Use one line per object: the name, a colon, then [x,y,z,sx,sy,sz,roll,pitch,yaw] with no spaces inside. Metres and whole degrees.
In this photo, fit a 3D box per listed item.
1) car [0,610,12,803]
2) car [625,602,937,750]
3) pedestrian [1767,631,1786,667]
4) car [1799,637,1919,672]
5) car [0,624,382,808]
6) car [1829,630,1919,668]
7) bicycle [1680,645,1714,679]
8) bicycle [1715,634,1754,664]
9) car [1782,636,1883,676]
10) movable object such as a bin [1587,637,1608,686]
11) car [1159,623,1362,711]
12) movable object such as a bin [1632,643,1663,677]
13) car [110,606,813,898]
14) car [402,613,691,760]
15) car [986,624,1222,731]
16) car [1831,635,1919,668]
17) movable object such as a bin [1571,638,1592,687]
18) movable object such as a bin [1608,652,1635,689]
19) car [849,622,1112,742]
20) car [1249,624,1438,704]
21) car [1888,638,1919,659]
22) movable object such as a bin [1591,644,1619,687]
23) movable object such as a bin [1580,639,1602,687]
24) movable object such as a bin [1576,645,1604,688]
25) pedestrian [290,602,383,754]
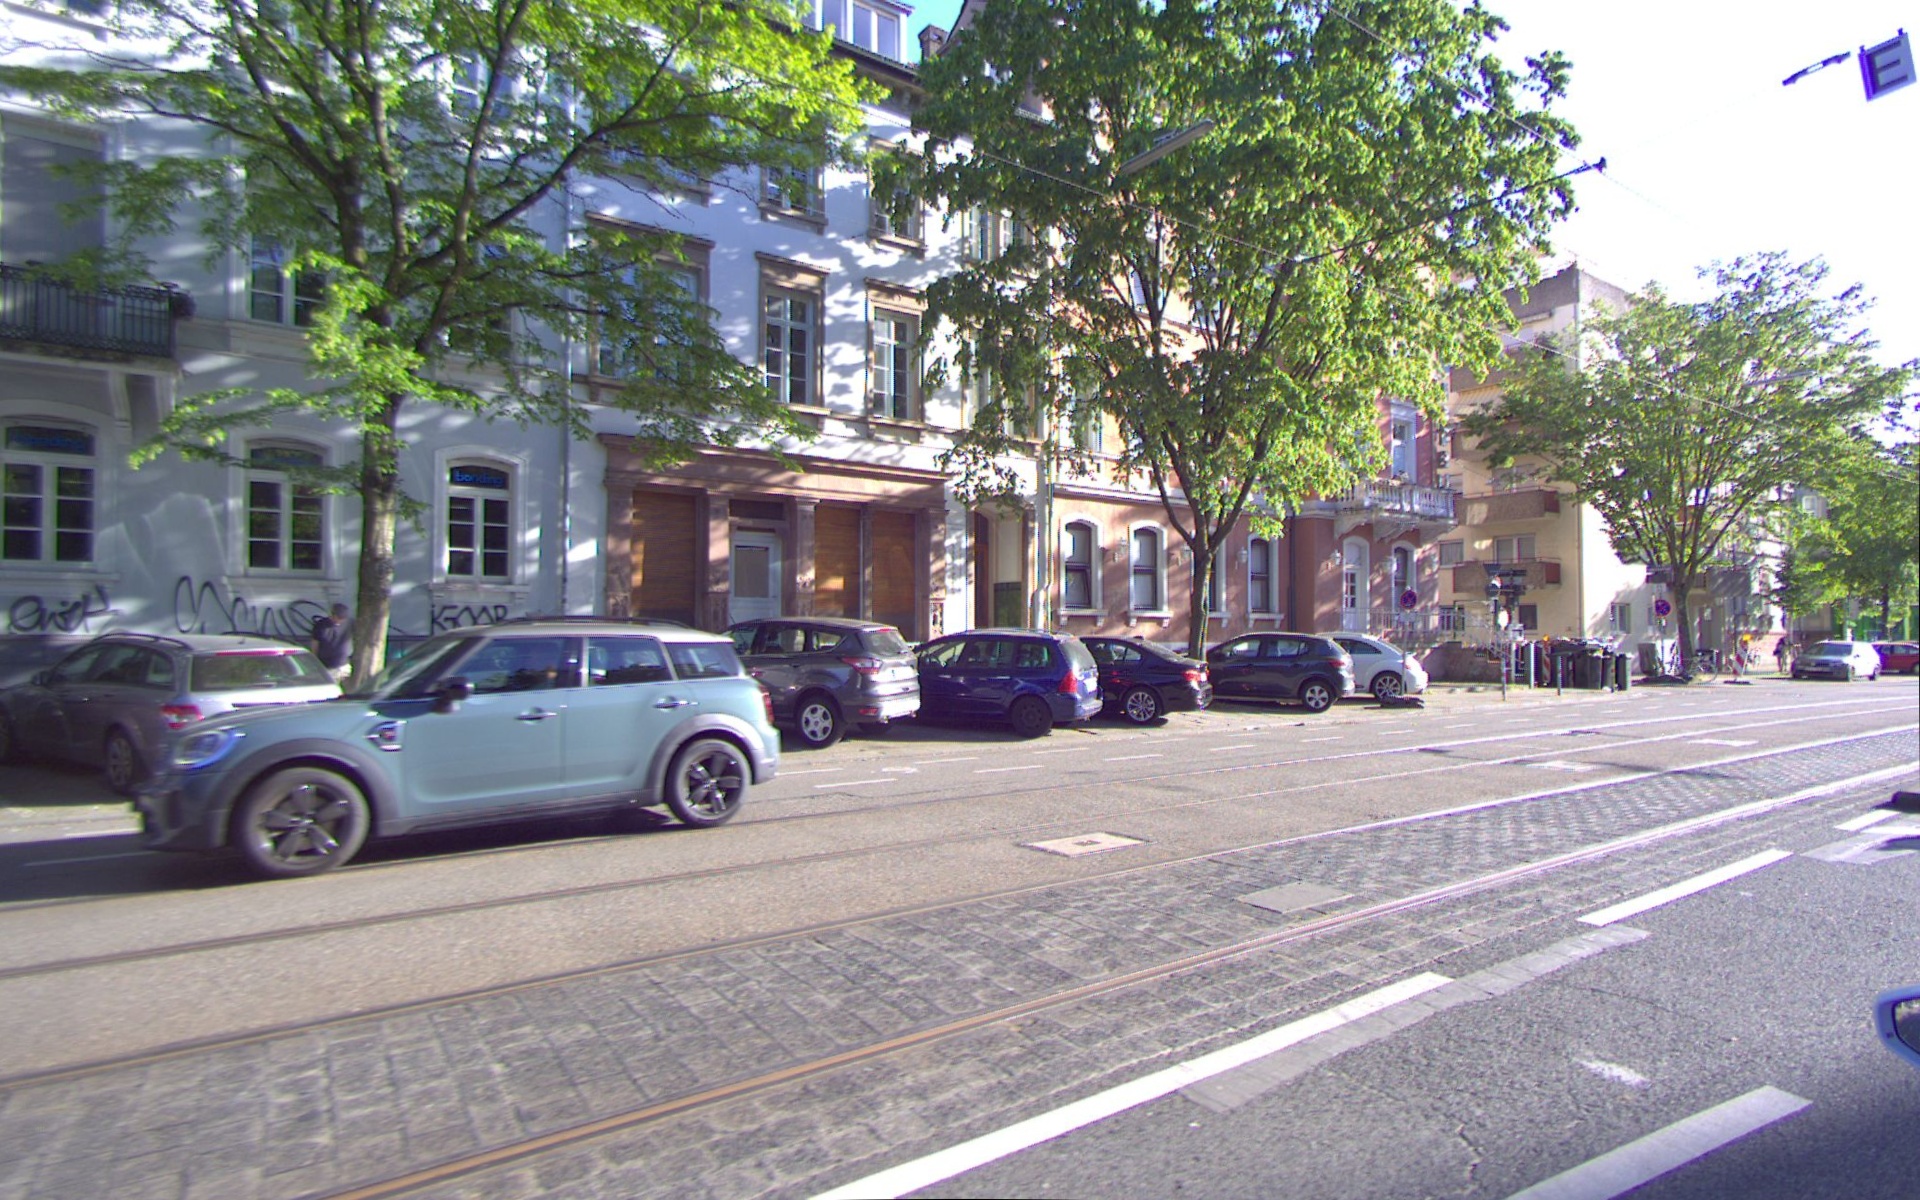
car: [-10.370,0.871,8.825,3.799,1.676,1.771,1,-1,27]
car: [-2.630,1.014,14.687,4.205,1.745,1.707,3,-1,25]
pedestrian: [37.964,2.275,46.685,0.484,1.693,0.509,1,-2,-29]
car: [40.783,2.434,45.119,4.432,1.444,1.871,1,-2,27]
car: [-8.108,1.071,10.511,3.751,1.505,1.769,1,-1,27]
car: [43.345,2.284,46.507,4.429,1.663,1.589,1,-2,23]
bicycle: [25.036,2.108,34.117,1.385,1.131,0.263,1,-2,-23]
bicycle: [37.854,2.402,49.093,2.982,1.416,0.712,2,-3,-37]
car: [33.585,2.138,38.655,4.242,1.429,1.697,1,-1,-31]
movable object such as a bin: [19.275,1.853,30.372,0.382,1.445,0.379,1,-2,-22]
car: [6.262,1.329,20.947,3.847,1.528,1.688,2,0,25]
movable object such as a bin: [23.866,2.083,34.877,1.133,1.141,0.424,2,-2,-29]
car: [-3.500,0.919,7.657,4.385,1.622,1.858,1,-3,-37]
car: [-5.369,1.028,13.079,3.218,1.553,1.706,3,0,25]
car: [2.595,1.315,18.062,3.908,1.638,1.635,1,0,21]
car: [48.644,2.707,52.592,4.443,1.590,1.585,0,-2,37]
movable object such as a bin: [18.547,1.850,29.976,0.382,1.445,0.379,1,-2,-22]
movable object such as a bin: [19.475,2.067,29.571,0.630,1.082,0.379,1,-2,-23]
car: [0.340,1.245,16.288,3.908,1.638,1.635,1,0,21]
car: [8.674,1.411,22.973,3.839,1.542,1.735,2,0,19]
car: [73.566,3.719,76.800,1.501,1.526,3.522,1,-2,-23]
movable object such as a bin: [18.801,1.901,29.267,0.630,1.258,0.379,1,-2,-23]
movable object such as a bin: [18.958,1.883,30.171,0.380,1.445,0.379,1,-2,-22]
movable object such as a bin: [18.199,1.916,29.017,0.630,1.218,0.379,1,-2,-23]
pedestrian: [-7.656,0.933,12.341,0.756,1.778,0.803,-2,-3,45]
